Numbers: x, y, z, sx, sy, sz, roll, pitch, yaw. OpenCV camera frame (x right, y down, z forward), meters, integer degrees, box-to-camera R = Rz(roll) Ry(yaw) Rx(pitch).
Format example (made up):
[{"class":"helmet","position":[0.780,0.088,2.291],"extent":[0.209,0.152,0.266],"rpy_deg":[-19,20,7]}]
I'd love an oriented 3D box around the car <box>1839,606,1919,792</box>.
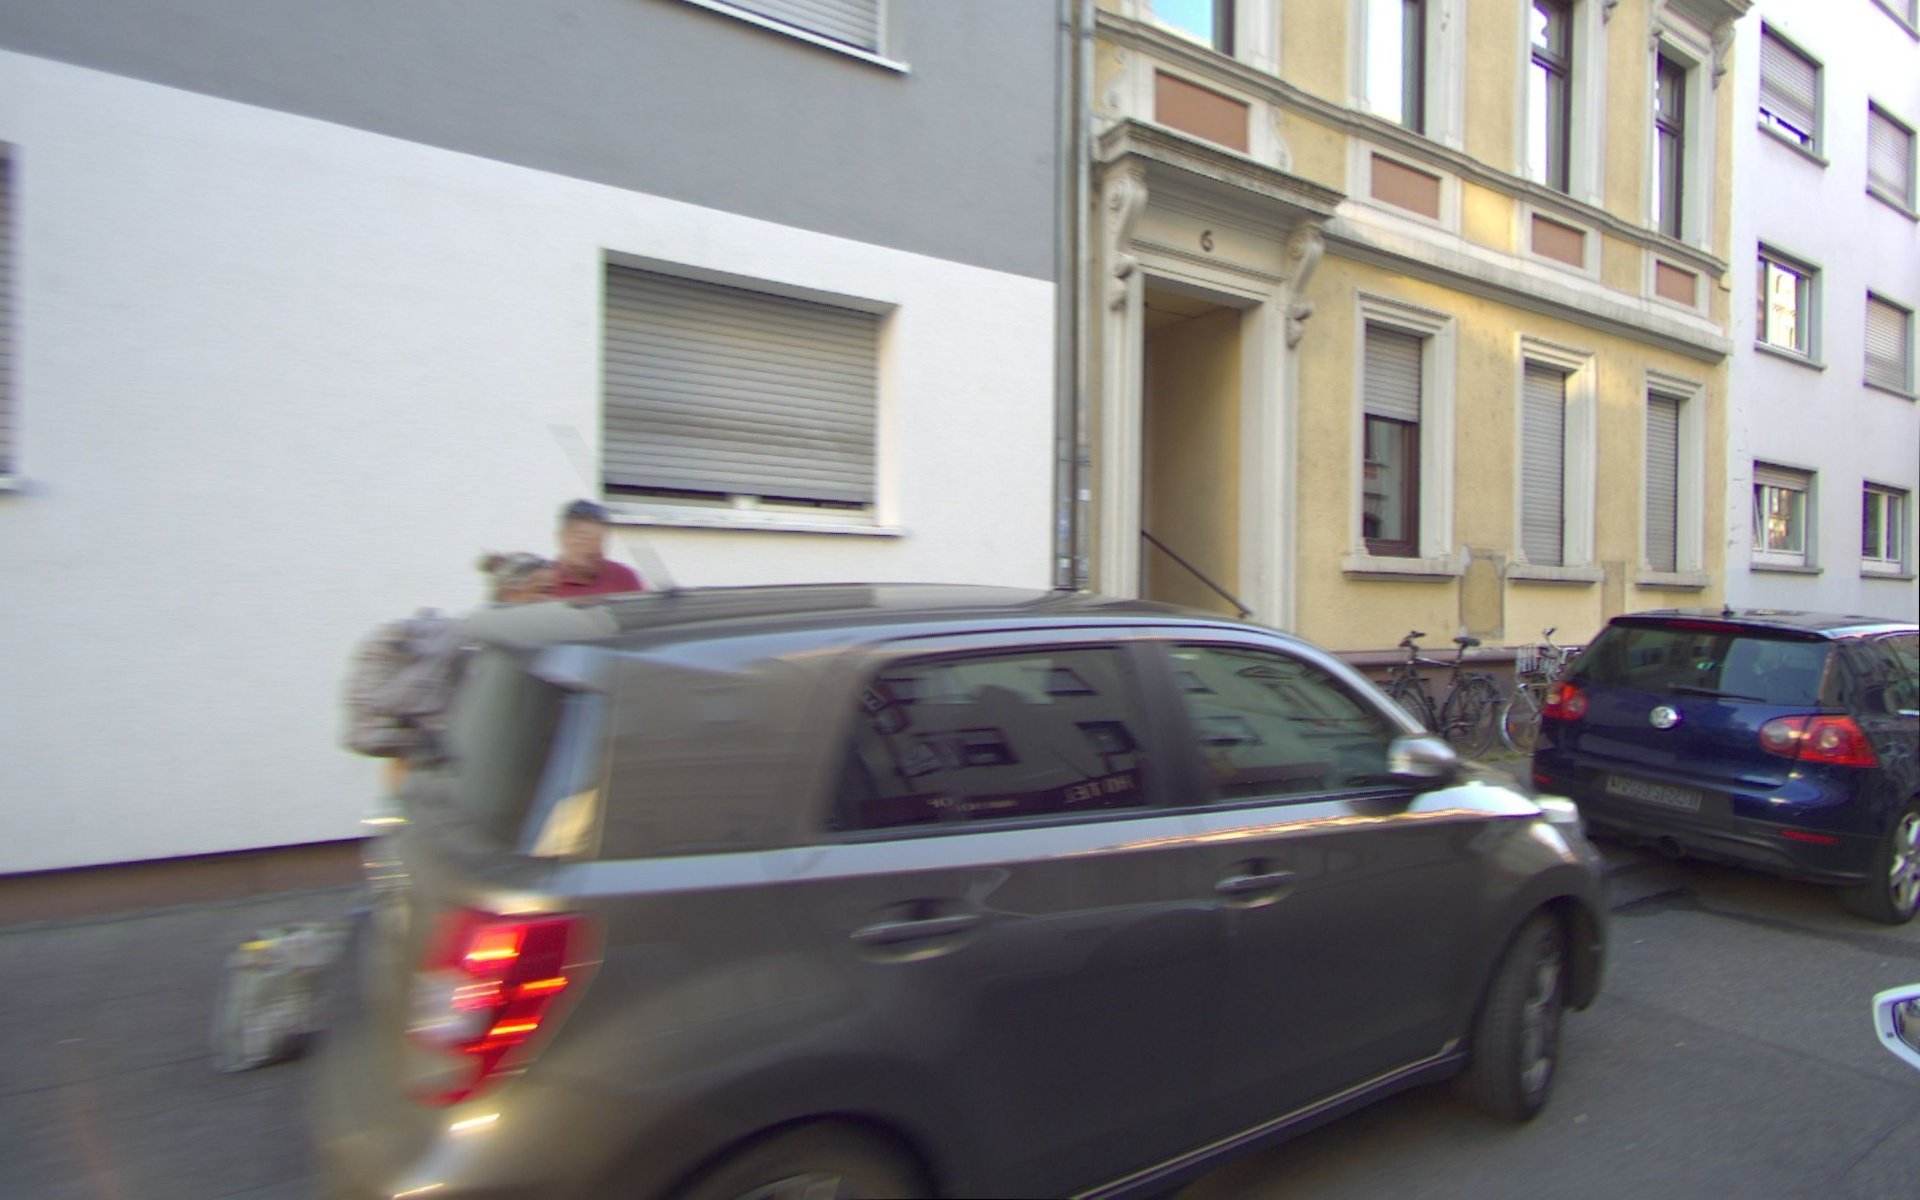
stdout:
[{"class":"car","position":[9.466,0.801,8.801],"extent":[3.711,1.492,1.622],"rpy_deg":[0,0,-31]}]

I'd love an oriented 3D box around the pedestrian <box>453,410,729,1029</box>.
[{"class":"pedestrian","position":[-1.428,0.398,3.870],"extent":[0.769,2.040,0.791],"rpy_deg":[0,0,-41]}]

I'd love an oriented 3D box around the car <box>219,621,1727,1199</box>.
[{"class":"car","position":[0.406,0.774,3.024],"extent":[4.085,1.350,1.675],"rpy_deg":[1,-1,-31]}]

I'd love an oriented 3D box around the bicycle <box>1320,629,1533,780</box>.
[{"class":"bicycle","position":[3.965,0.824,8.463],"extent":[2.105,1.133,0.531],"rpy_deg":[1,0,-31]}]

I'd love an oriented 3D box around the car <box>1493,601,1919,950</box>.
[{"class":"car","position":[5.171,0.775,6.129],"extent":[3.786,1.529,1.719],"rpy_deg":[0,0,-31]}]

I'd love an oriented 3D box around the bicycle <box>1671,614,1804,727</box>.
[{"class":"bicycle","position":[9.010,0.774,11.611],"extent":[2.099,1.216,0.520],"rpy_deg":[0,-1,-32]}]

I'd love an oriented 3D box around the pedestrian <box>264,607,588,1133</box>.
[{"class":"pedestrian","position":[-1.681,0.742,3.199],"extent":[0.650,1.429,0.671],"rpy_deg":[0,0,32]}]
